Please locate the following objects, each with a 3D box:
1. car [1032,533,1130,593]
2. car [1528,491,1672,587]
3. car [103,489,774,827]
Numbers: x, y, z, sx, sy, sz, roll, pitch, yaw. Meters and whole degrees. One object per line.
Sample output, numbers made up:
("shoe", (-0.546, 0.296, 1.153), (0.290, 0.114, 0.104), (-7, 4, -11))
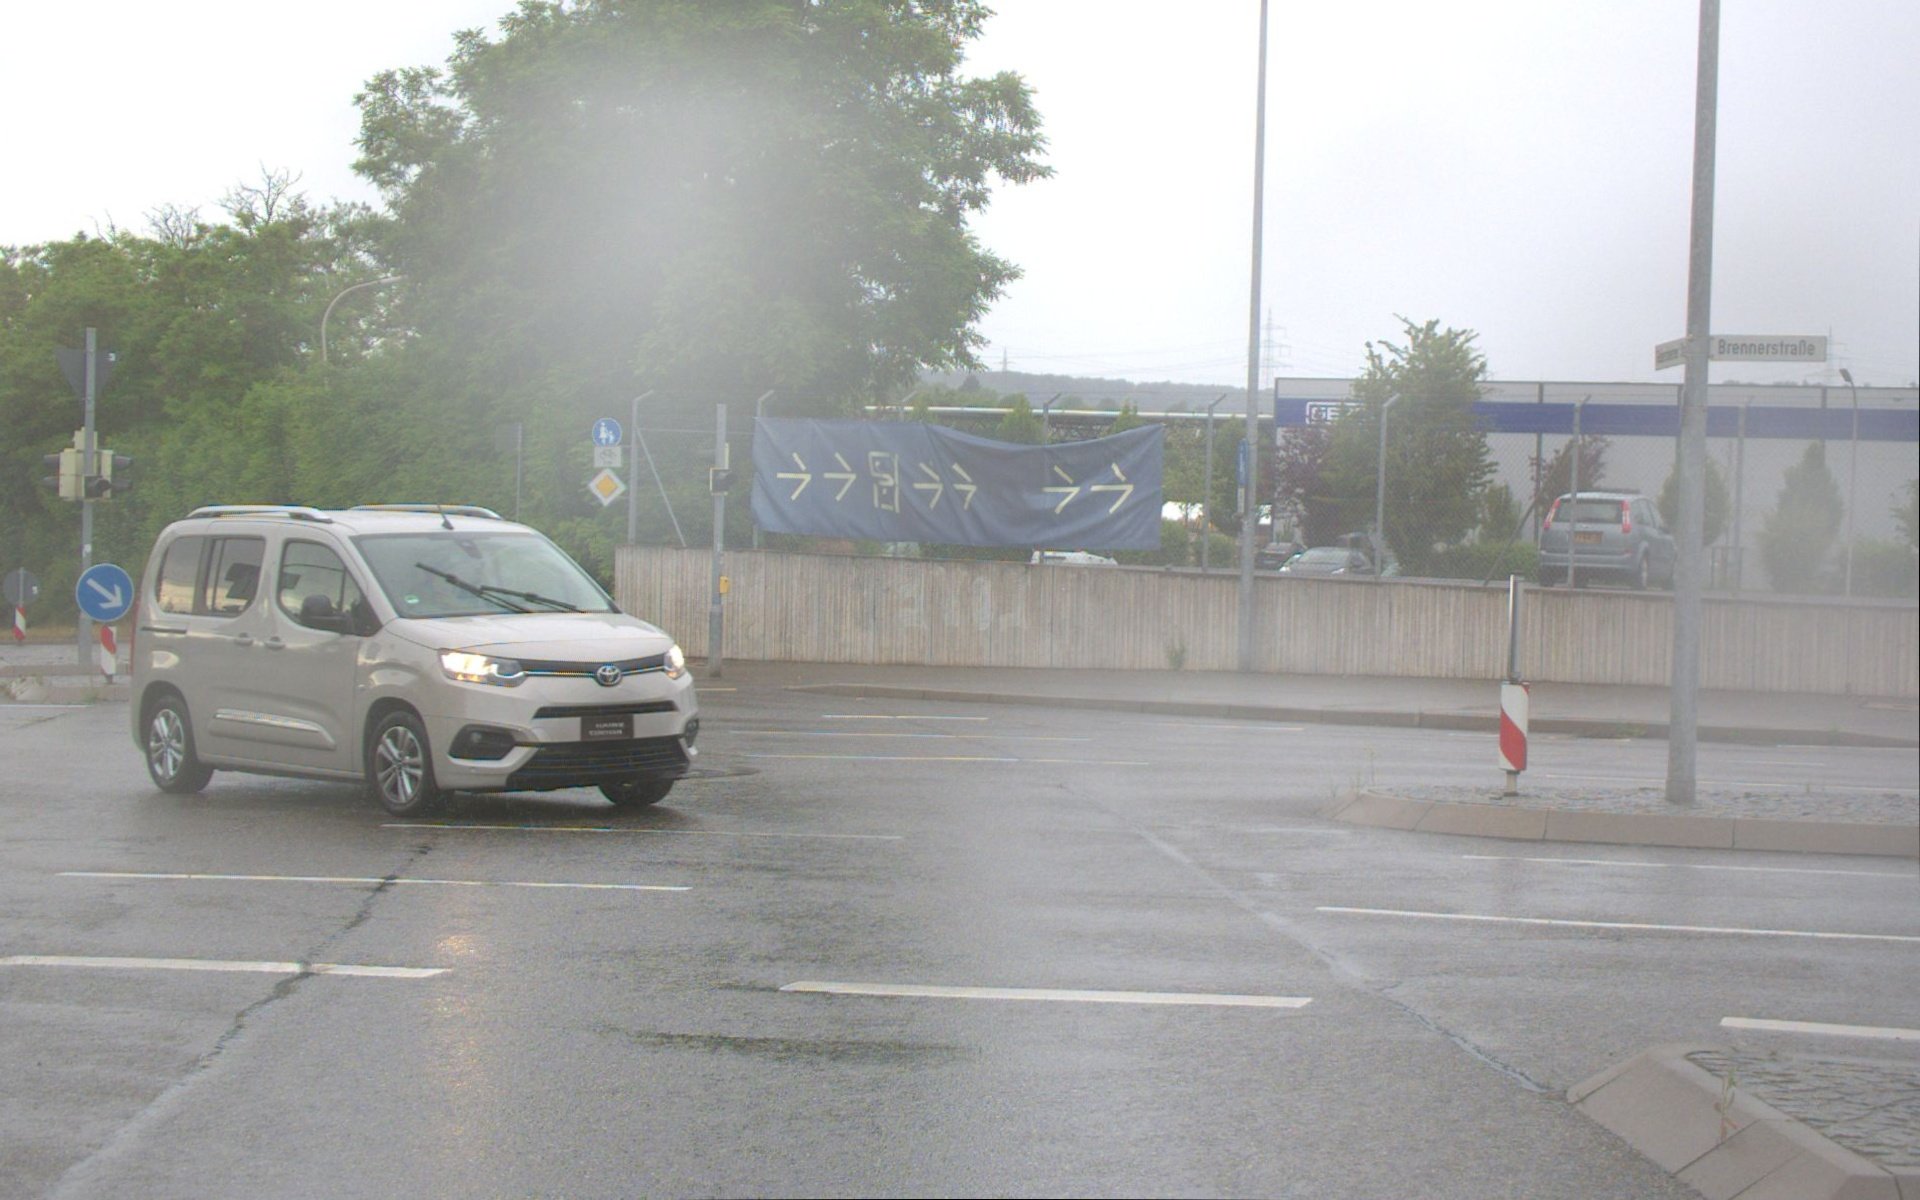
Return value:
("car", (3.395, -1.025, 95.900), (1.668, 1.601, 3.527), (1, 1, 21))
("car", (10.712, -1.005, 57.433), (1.744, 1.548, 3.527), (1, 1, 21))
("car", (-3.298, 0.282, 21.041), (1.994, 1.837, 4.482), (0, 1, -40))
